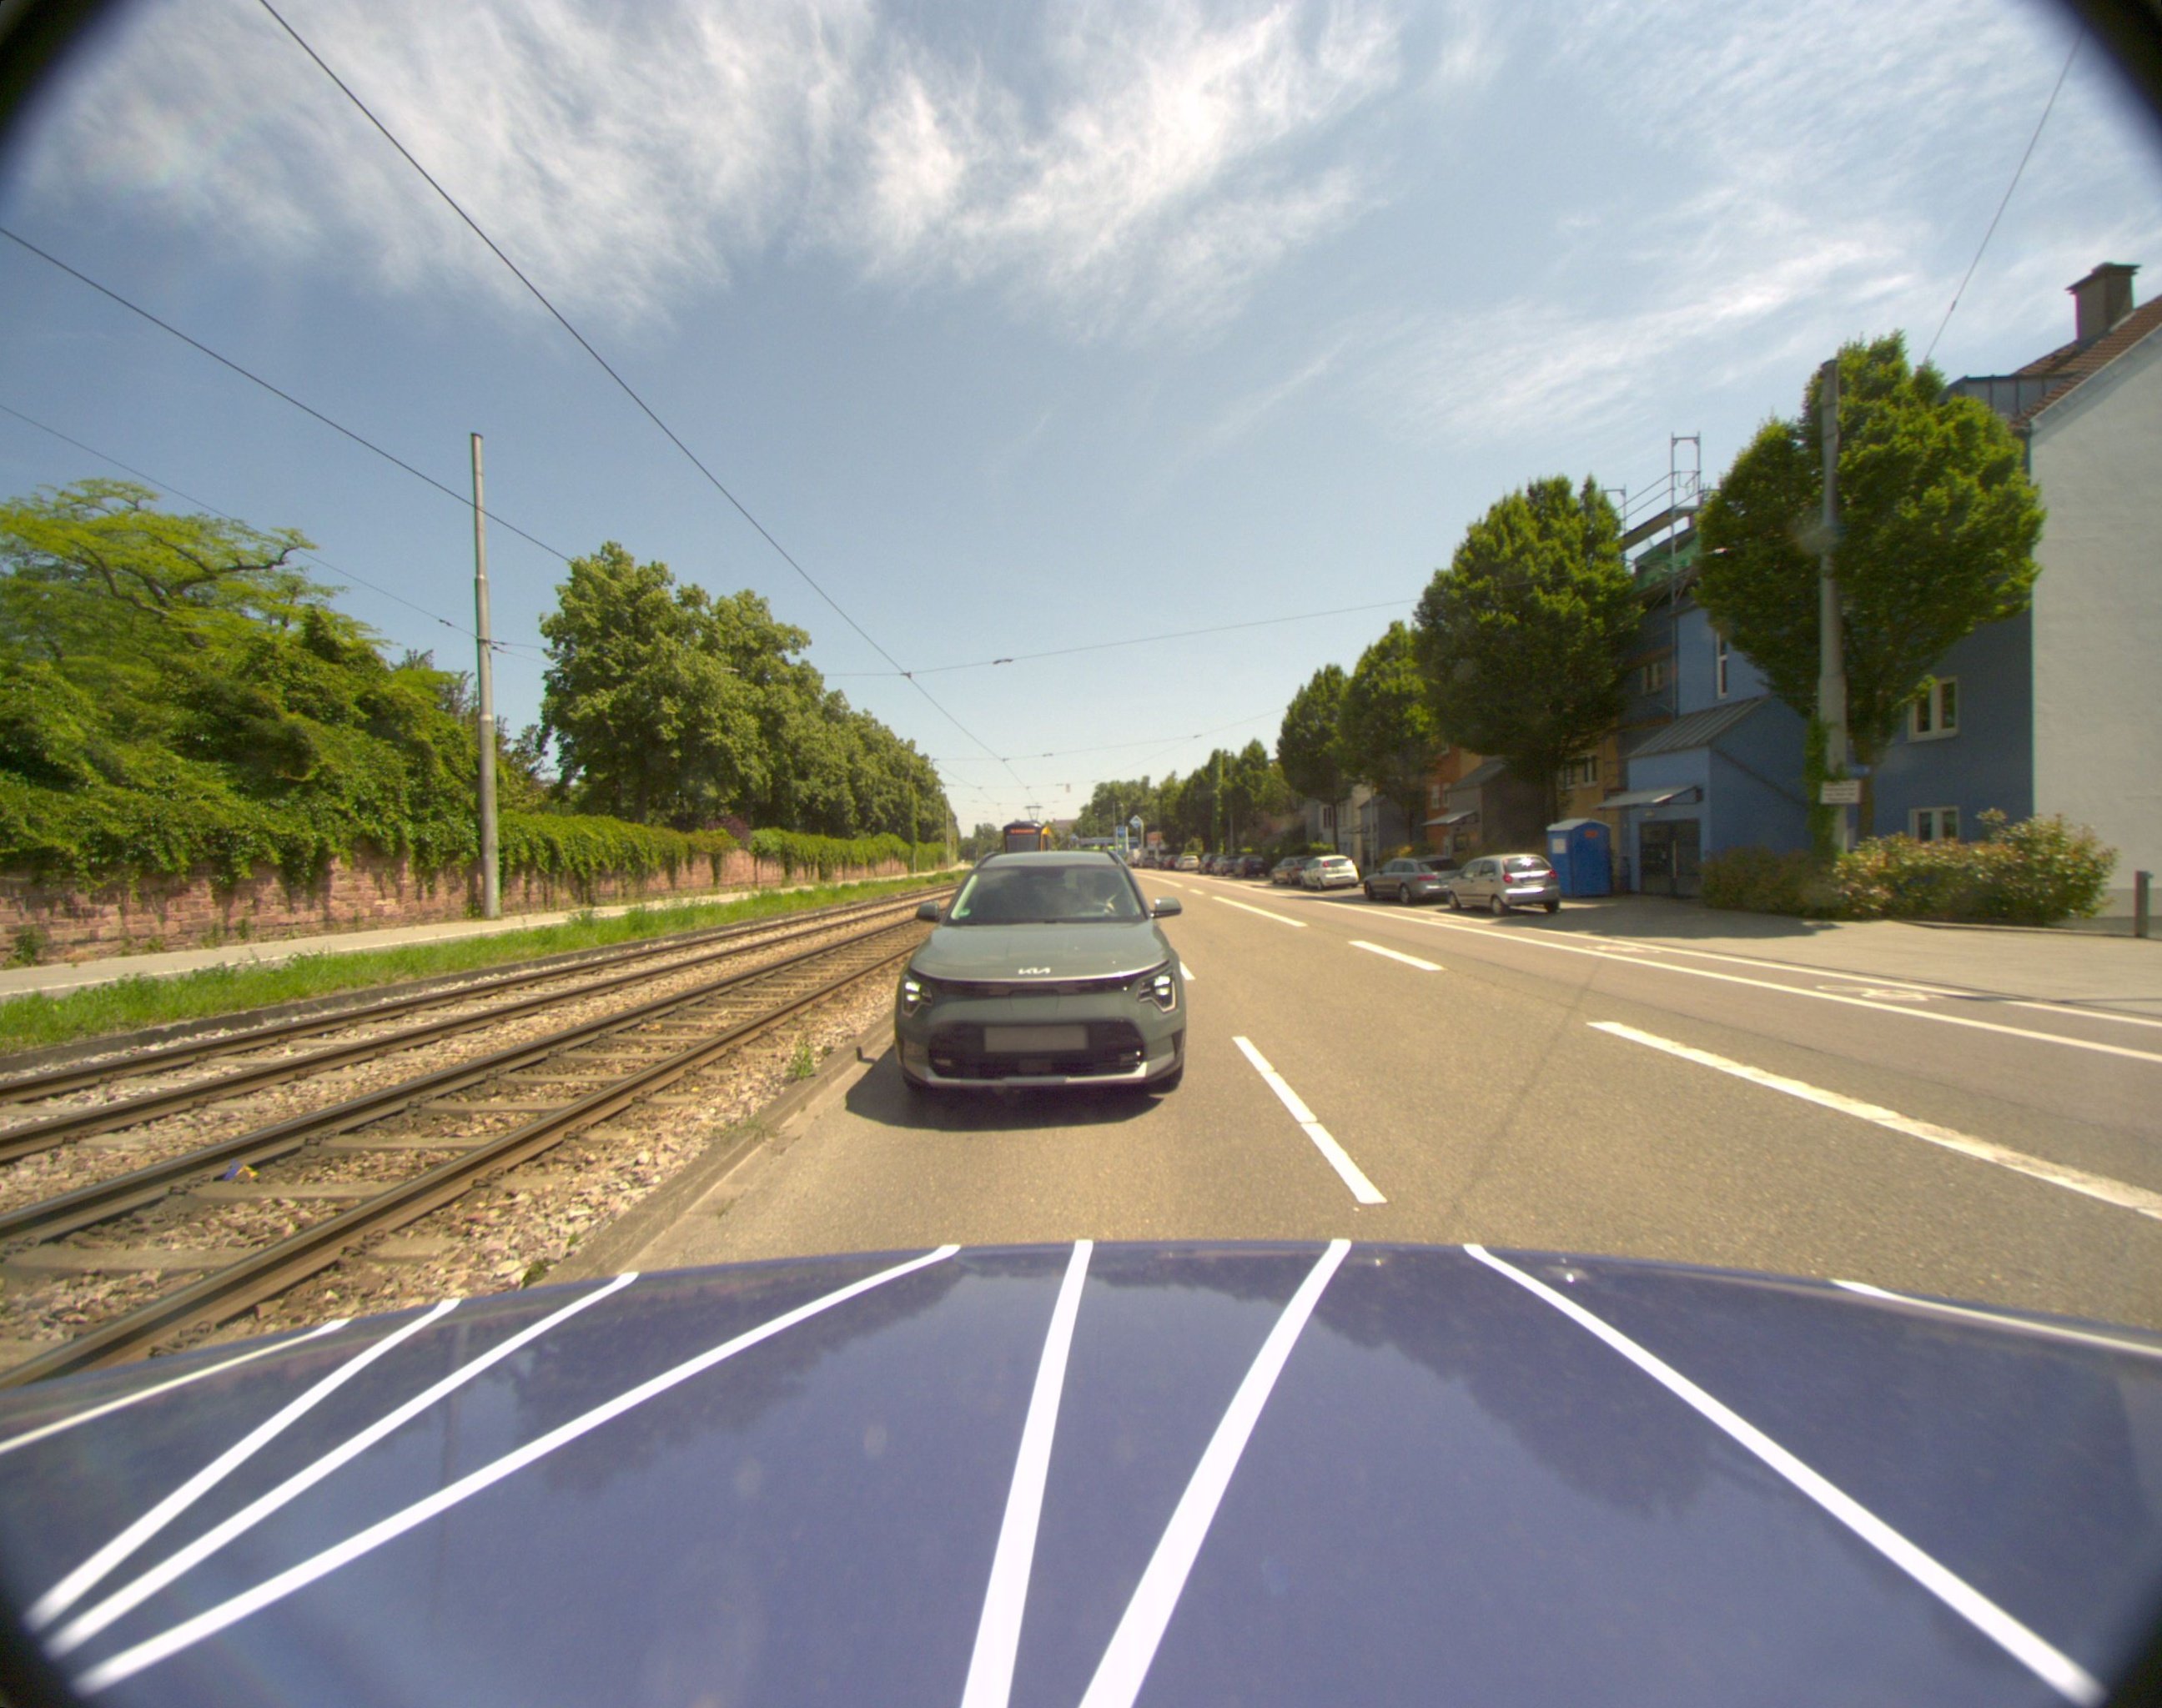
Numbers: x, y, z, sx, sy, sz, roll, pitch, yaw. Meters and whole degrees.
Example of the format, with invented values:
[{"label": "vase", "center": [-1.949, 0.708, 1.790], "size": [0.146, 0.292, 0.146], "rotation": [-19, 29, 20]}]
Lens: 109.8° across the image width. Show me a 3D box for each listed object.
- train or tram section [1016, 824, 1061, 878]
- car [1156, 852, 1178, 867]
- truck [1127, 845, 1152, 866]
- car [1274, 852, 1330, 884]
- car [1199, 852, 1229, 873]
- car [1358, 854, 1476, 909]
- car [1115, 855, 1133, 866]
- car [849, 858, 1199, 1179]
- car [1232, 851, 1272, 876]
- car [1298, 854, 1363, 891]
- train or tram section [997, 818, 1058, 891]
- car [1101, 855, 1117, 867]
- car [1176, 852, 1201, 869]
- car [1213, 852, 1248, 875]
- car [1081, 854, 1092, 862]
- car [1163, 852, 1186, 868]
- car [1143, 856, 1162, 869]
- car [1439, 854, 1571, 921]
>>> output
[{"label": "train or tram section", "center": [-3.230, -0.285, 61.767], "size": [2.783, 3.789, 14.259], "rotation": [-2, 1, 0]}, {"label": "car", "center": [9.574, 0.600, 84.724], "size": [1.865, 1.487, 3.470], "rotation": [-5, 0, 0]}, {"label": "truck", "center": [7.680, 0.167, 99.887], "size": [2.135, 2.565, 4.861], "rotation": [-5, 0, -8]}, {"label": "car", "center": [11.601, 0.712, 40.177], "size": [1.656, 1.487, 4.082], "rotation": [-5, 0, 0]}, {"label": "car", "center": [10.957, 0.680, 62.765], "size": [1.656, 1.578, 4.082], "rotation": [-5, 0, 0]}, {"label": "car", "center": [10.889, 0.832, 25.008], "size": [1.680, 1.487, 4.638], "rotation": [-5, 0, 0]}, {"label": "car", "center": [6.353, 0.999, 111.617], "size": [1.866, 1.487, 3.468], "rotation": [-5, 0, -8]}, {"label": "car", "center": [-0.267, 0.868, 6.156], "size": [1.759, 1.574, 4.427], "rotation": [-2, 0, 1]}, {"label": "car", "center": [11.611, 0.628, 51.783], "size": [1.656, 1.487, 4.082], "rotation": [-5, 0, 0]}, {"label": "car", "center": [11.393, 0.814, 34.979], "size": [1.656, 1.487, 3.649], "rotation": [-5, 0, 0]}, {"label": "train or tram section", "center": [-3.063, -0.037, 47.551], "size": [2.813, 3.785, 14.258], "rotation": [-2, 1, -1]}, {"label": "car", "center": [3.928, 0.992, 106.733], "size": [1.865, 1.487, 3.470], "rotation": [-5, 0, 0]}, {"label": "car", "center": [10.470, 0.652, 74.146], "size": [1.723, 1.487, 4.082], "rotation": [-5, 0, 0]}, {"label": "car", "center": [11.083, 0.672, 56.579], "size": [1.656, 1.487, 4.082], "rotation": [-5, 0, 0]}, {"label": "car", "center": [0.930, 0.711, 136.811], "size": [1.865, 1.487, 3.470], "rotation": [-1, 0, -1]}, {"label": "car", "center": [9.824, 0.626, 79.921], "size": [1.865, 1.487, 3.470], "rotation": [-5, 0, 0]}, {"label": "car", "center": [8.841, 1.034, 93.848], "size": [1.865, 1.487, 3.470], "rotation": [-5, 0, 0]}, {"label": "car", "center": [10.997, 0.799, 19.947], "size": [1.505, 1.487, 3.282], "rotation": [-5, 0, 0]}]
